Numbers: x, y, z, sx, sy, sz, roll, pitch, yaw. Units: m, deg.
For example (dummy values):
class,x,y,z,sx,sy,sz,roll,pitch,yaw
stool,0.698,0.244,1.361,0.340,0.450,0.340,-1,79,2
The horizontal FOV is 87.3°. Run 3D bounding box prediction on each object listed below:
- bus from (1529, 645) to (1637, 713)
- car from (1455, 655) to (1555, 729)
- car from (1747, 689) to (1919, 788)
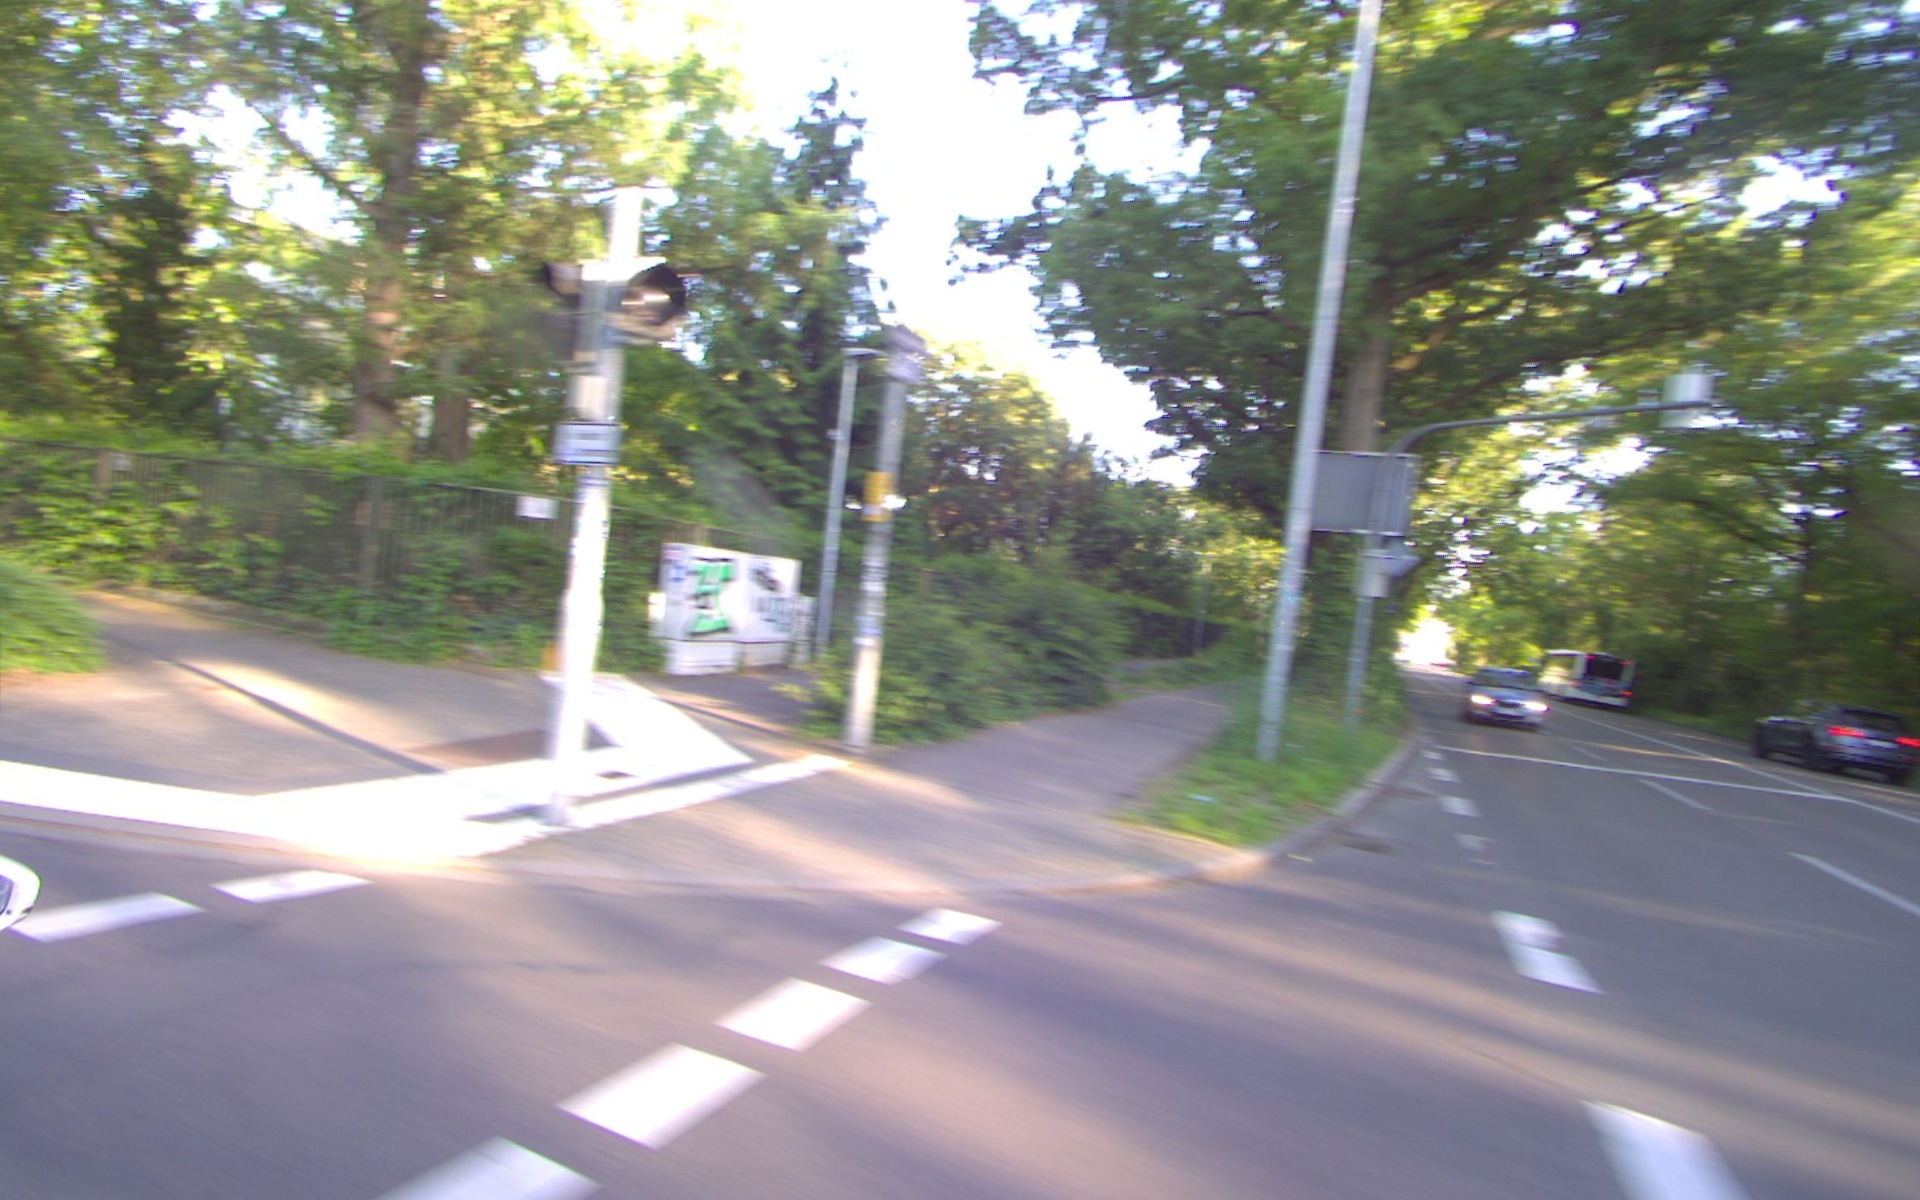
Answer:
class,x,y,z,sx,sy,sz,roll,pitch,yaw
bus,36.189,4.425,58.972,2.967,3.126,12.261,10,2,23
car,14.331,2.355,26.656,1.780,1.599,4.316,5,0,23
car,20.849,3.198,23.976,1.958,1.627,4.359,11,2,23
